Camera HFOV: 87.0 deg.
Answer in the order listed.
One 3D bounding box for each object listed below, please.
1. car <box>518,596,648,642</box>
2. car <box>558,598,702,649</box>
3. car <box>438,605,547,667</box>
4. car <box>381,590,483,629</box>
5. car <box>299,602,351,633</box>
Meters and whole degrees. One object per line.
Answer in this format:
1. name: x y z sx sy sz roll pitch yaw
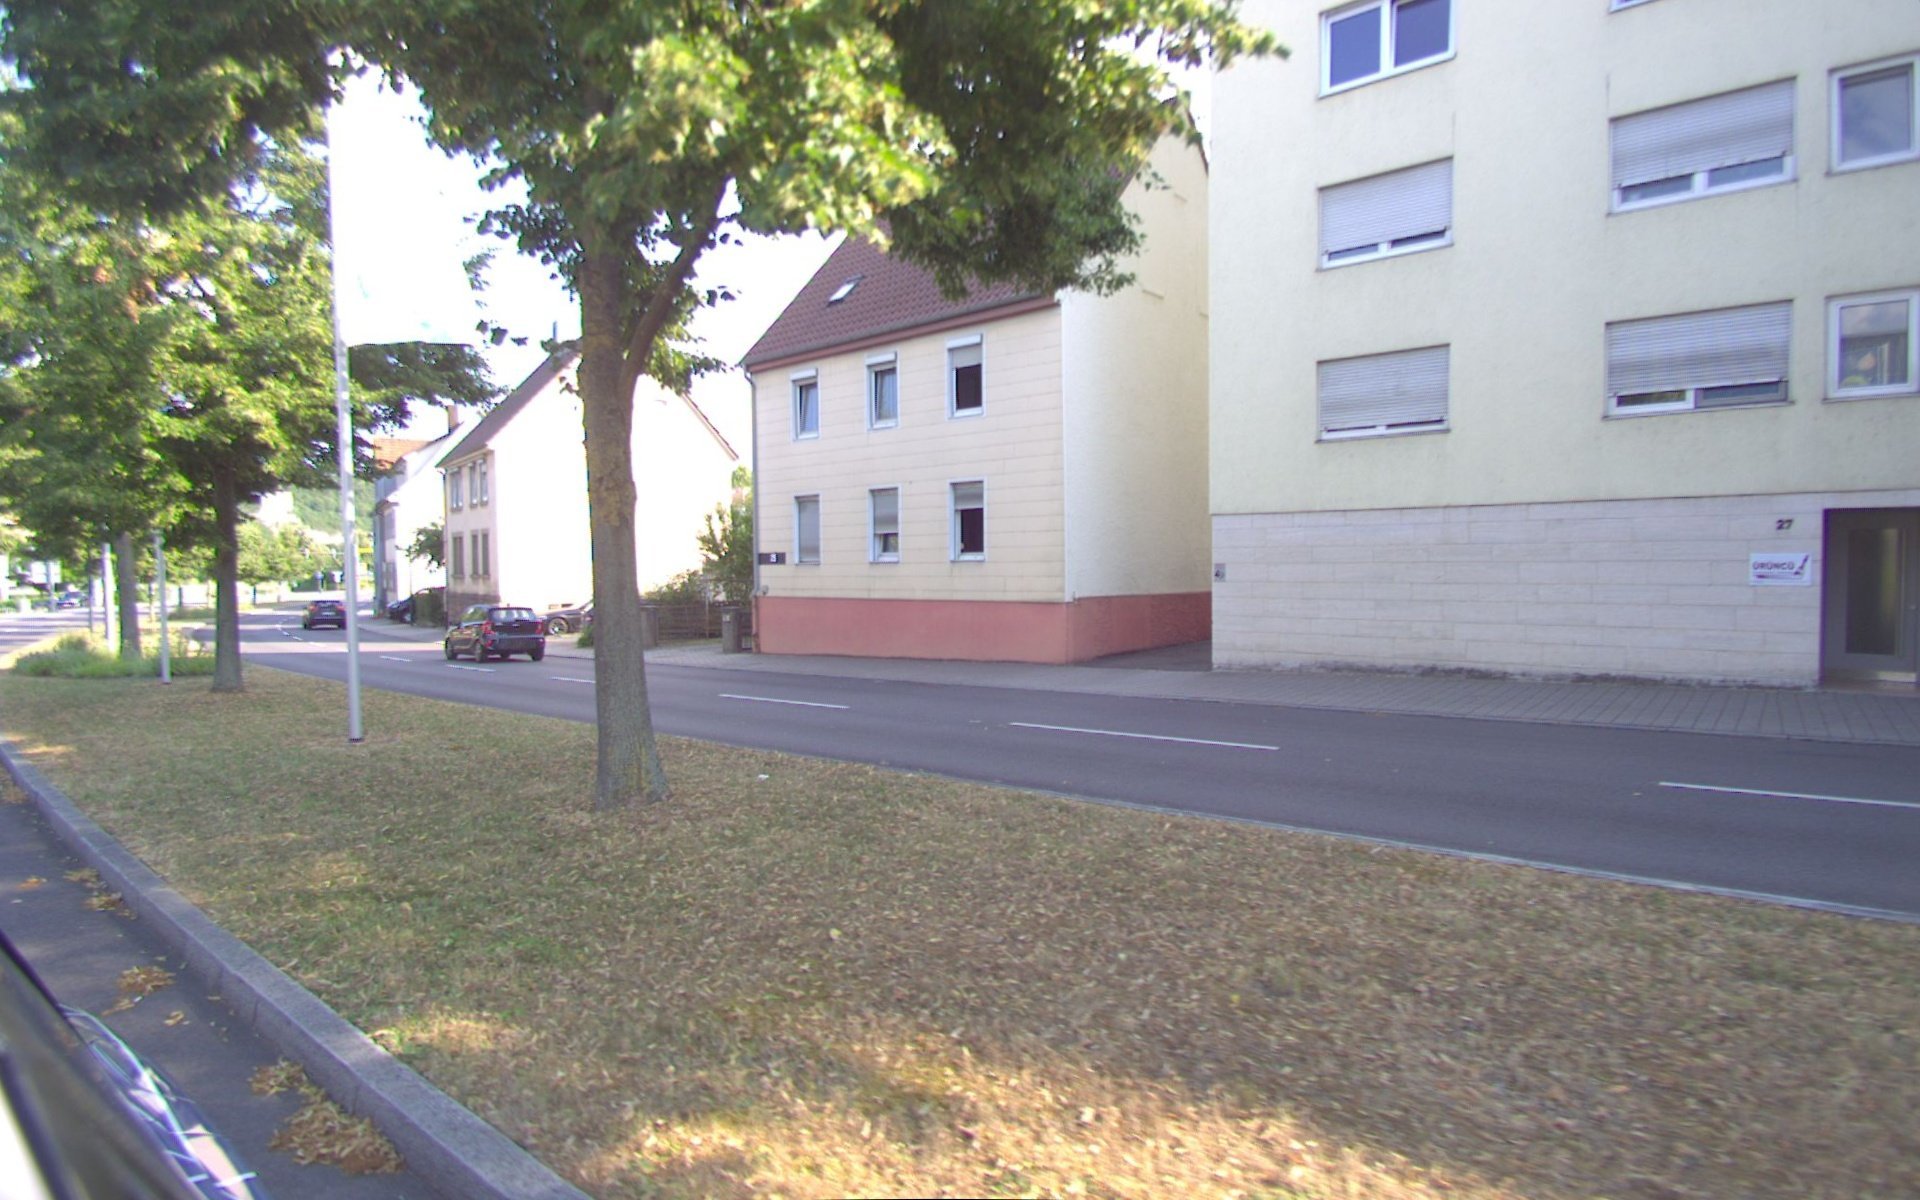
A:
1. car: -14.103 0.661 37.850 4.286 1.497 2.018 -2 1 -29
2. car: -11.024 0.742 33.818 4.285 1.497 1.952 -2 1 -27
3. car: -12.305 0.889 26.519 1.586 1.497 3.789 0 0 -41
4. car: -29.294 0.491 56.191 4.759 1.891 2.006 -4 2 -33
5. car: -32.651 0.866 52.011 1.914 1.497 4.334 0 0 -37
